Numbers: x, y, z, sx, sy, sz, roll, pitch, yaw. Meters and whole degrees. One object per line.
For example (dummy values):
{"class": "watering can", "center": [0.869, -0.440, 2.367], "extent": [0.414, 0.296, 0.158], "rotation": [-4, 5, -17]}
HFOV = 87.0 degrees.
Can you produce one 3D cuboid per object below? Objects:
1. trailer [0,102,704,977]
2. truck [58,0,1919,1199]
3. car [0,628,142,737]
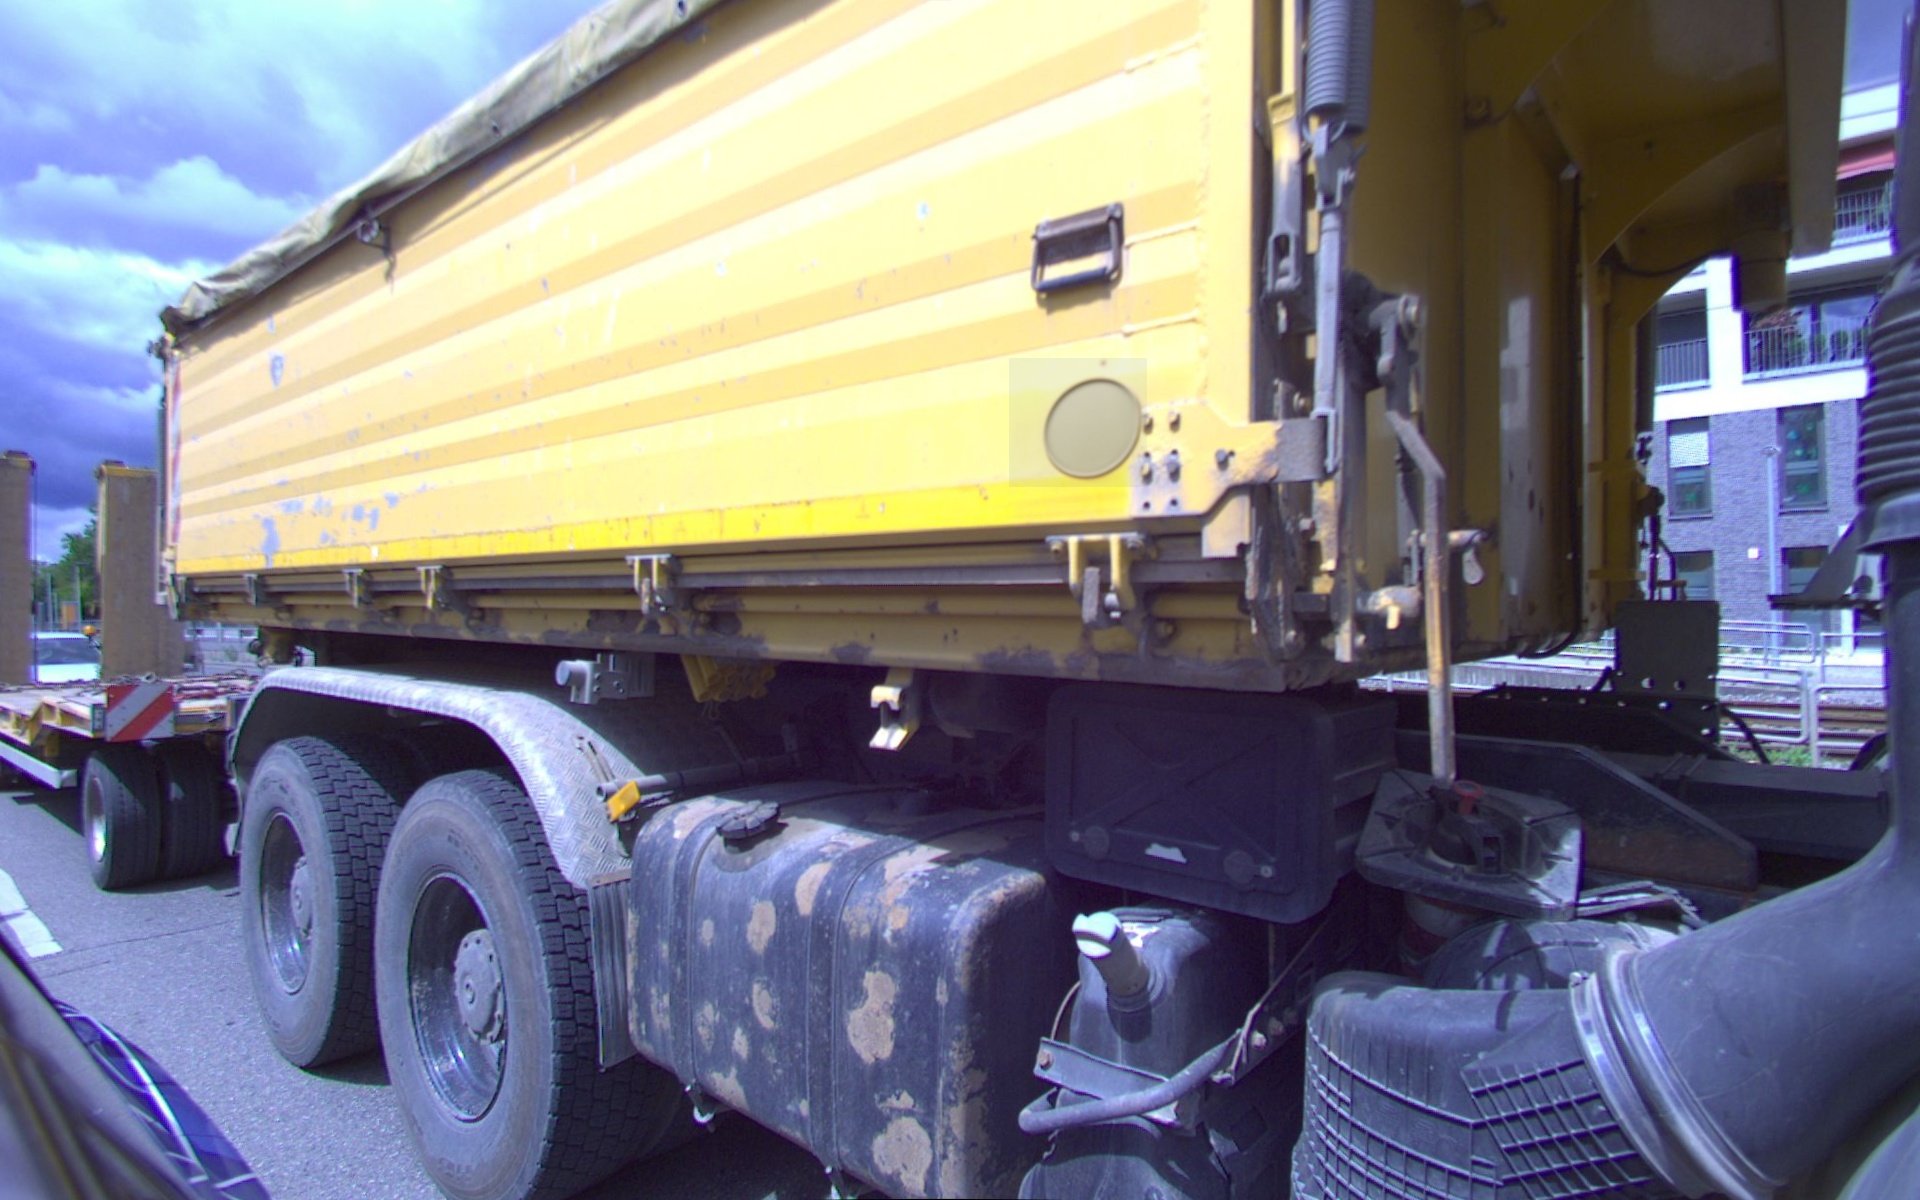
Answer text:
{"class": "trailer", "center": [-6.842, -0.137, 9.020], "extent": [10.957, 3.726, 3.018], "rotation": [-2, -1, 40]}
{"class": "truck", "center": [0.167, -0.222, 2.912], "extent": [7.999, 3.420, 3.019], "rotation": [-2, -1, 40]}
{"class": "car", "center": [-13.966, 1.175, 15.390], "extent": [3.784, 1.427, 1.761], "rotation": [-2, -1, 41]}
